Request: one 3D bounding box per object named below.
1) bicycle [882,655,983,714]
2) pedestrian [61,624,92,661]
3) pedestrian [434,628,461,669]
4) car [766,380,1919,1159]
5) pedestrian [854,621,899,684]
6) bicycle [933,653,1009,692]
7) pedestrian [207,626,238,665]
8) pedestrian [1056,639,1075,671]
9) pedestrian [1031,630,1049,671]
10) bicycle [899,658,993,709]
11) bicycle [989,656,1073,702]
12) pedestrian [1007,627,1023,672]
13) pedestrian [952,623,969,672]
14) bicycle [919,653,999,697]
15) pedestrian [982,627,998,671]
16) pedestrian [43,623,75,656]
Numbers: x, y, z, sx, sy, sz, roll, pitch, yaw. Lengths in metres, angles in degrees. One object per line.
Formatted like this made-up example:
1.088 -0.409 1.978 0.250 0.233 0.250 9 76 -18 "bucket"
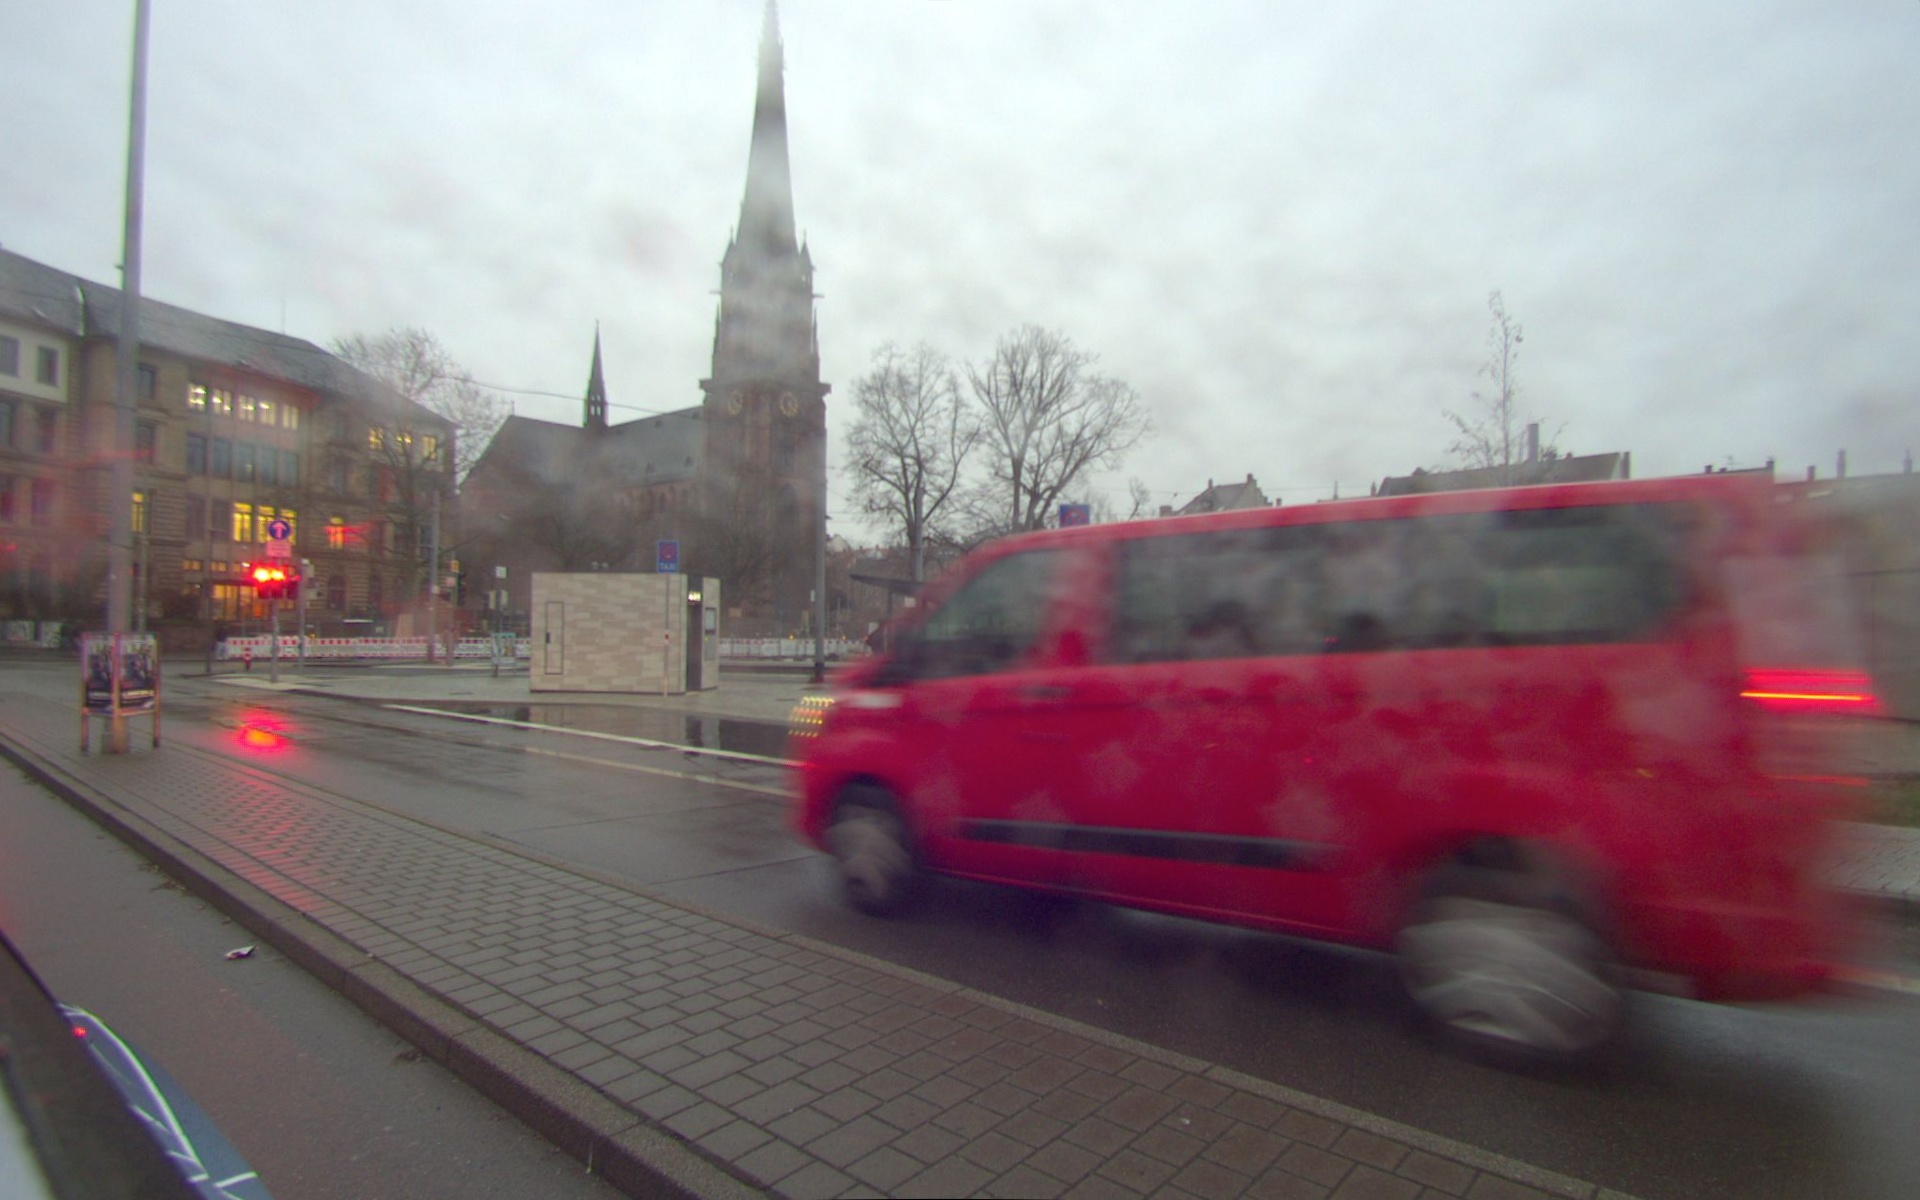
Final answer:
-0.535 1.652 19.870 1.905 1.078 0.473 1 -1 11 "bicycle"
-44.479 2.144 50.951 0.887 1.830 0.673 1 -2 5 "pedestrian"
-21.526 2.021 42.540 0.760 1.673 1.211 -1 0 -14 "pedestrian"
1.393 0.523 4.816 4.636 2.086 1.906 -1 -3 37 "car"
-2.396 1.510 29.253 1.056 1.778 1.008 0 -3 10 "pedestrian"
0.275 1.866 26.129 1.905 0.917 0.473 1 -1 11 "bicycle"
-37.046 2.291 50.833 0.960 1.915 0.674 1 -2 -1 "pedestrian"
3.984 2.069 38.327 0.610 1.165 0.806 -1 0 -1 "pedestrian"
3.037 1.908 38.335 0.580 1.513 0.675 -1 0 -1 "pedestrian"
-0.284 1.732 21.107 1.905 0.993 0.473 1 -1 11 "bicycle"
1.643 1.820 23.426 1.905 0.993 0.473 1 -1 11 "bicycle"
2.071 1.853 38.116 0.543 1.648 0.571 -1 0 -1 "pedestrian"
0.008 1.799 38.581 0.619 1.808 0.672 -1 0 -1 "pedestrian"
-0.011 1.827 24.872 1.905 0.993 0.473 1 -1 11 "bicycle"
1.152 1.856 38.654 0.556 1.664 0.540 -1 0 -1 "pedestrian"
-48.159 2.108 54.107 0.916 1.737 0.826 0 -3 4 "pedestrian"
